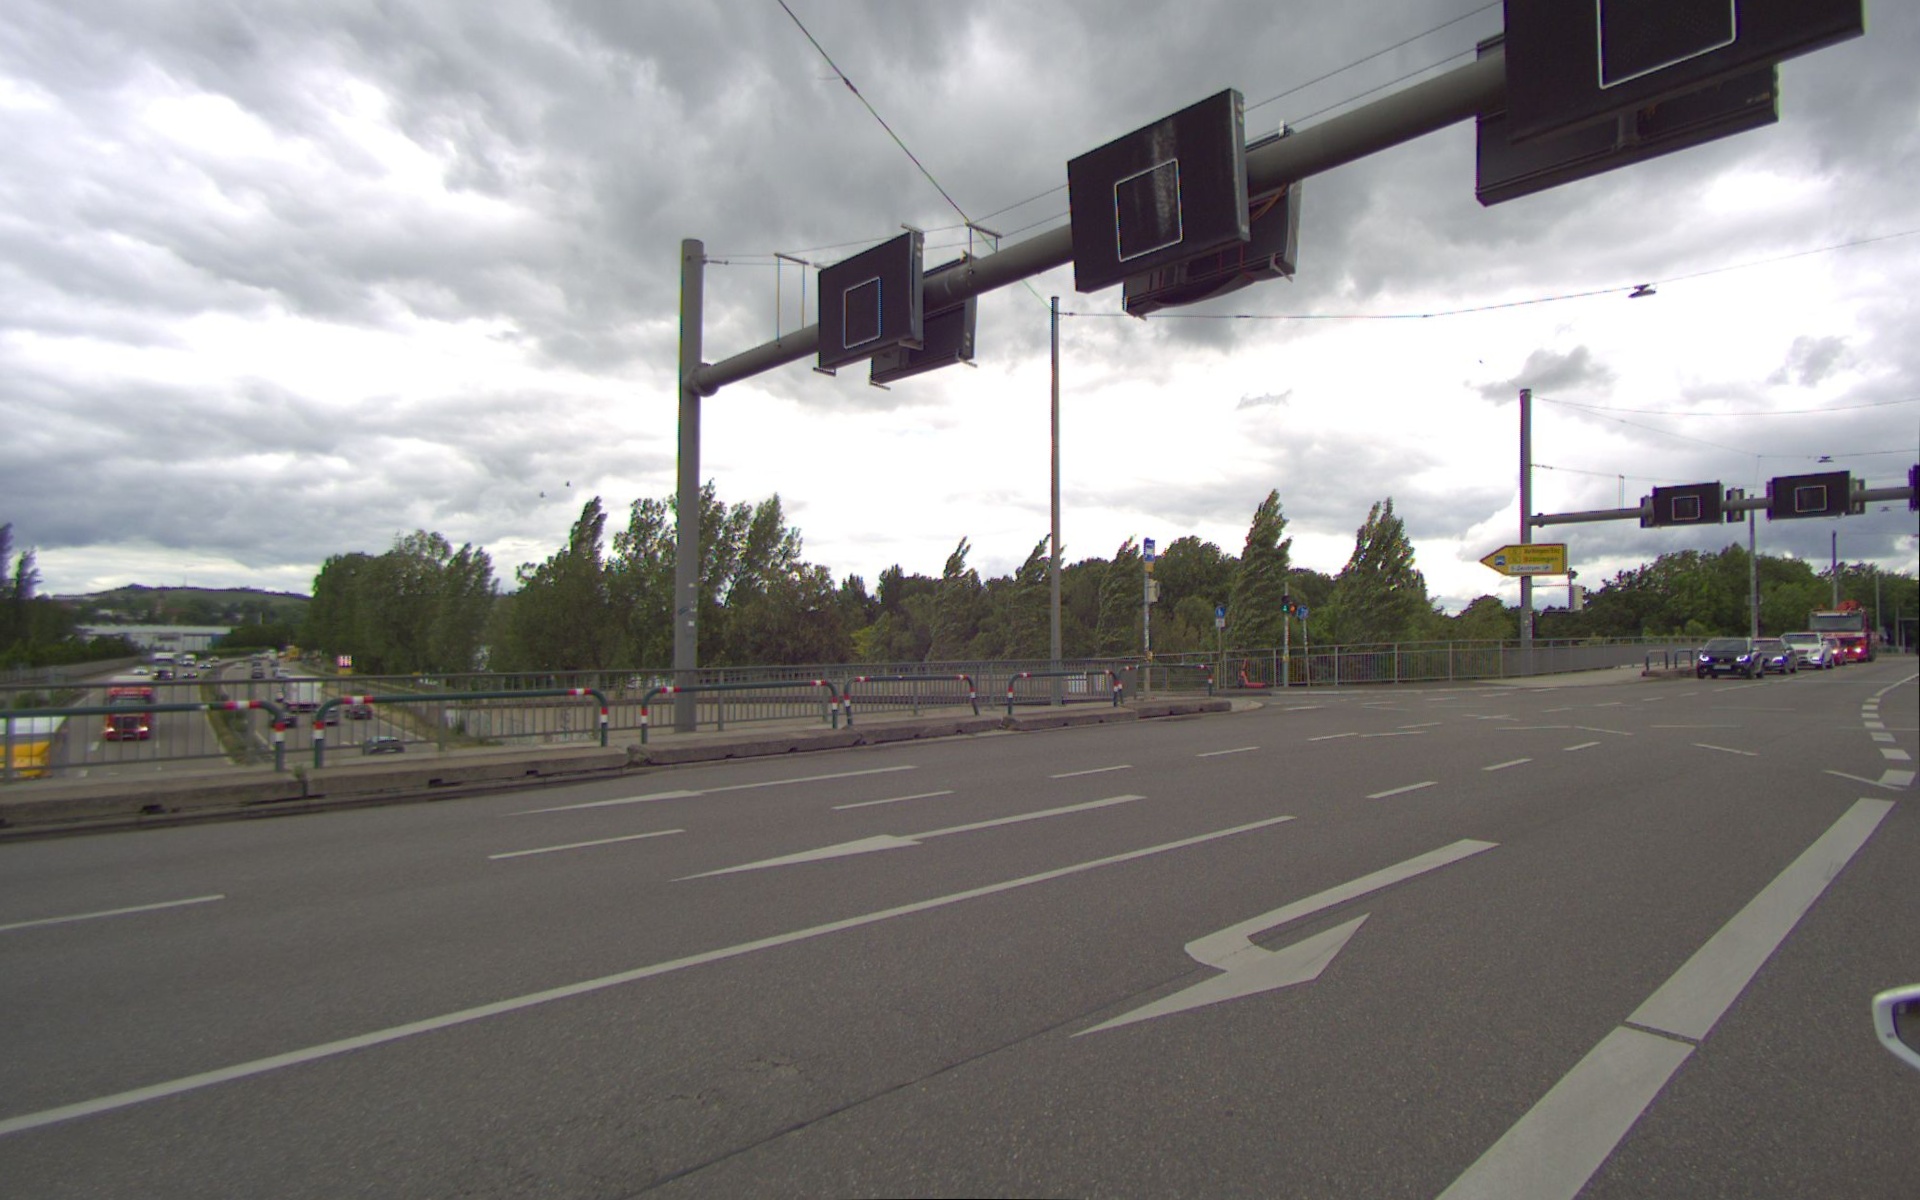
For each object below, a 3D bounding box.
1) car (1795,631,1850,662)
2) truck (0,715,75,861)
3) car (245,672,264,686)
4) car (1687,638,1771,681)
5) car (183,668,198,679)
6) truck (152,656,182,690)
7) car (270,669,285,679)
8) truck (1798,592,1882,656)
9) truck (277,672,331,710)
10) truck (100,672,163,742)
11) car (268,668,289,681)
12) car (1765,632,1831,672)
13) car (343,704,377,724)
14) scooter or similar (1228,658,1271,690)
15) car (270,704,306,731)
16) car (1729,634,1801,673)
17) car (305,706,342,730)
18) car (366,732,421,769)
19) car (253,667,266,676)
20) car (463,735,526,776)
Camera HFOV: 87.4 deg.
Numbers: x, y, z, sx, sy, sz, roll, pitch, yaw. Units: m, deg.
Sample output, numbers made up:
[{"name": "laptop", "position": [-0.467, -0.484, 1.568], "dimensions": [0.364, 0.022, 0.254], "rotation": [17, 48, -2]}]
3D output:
[{"name": "car", "position": [46.632, 2.499, 54.309], "dimensions": [3.988, 1.624, 1.862], "rotation": [2, -3, -44]}, {"name": "truck", "position": [-35.026, 6.643, 36.959], "dimensions": [2.878, 4.237, 9.915], "rotation": [5, -5, -38]}, {"name": "car", "position": [-114.762, 12.850, 163.400], "dimensions": [2.206, 2.040, 4.591], "rotation": [4, -2, -38]}, {"name": "car", "position": [29.074, 2.209, 37.941], "dimensions": [3.842, 1.524, 1.819], "rotation": [2, -3, -42]}, {"name": "car", "position": [-128.496, 12.251, 167.791], "dimensions": [1.896, 1.739, 3.603], "rotation": [4, -6, -37]}, {"name": "truck", "position": [-128.691, 11.793, 163.152], "dimensions": [3.348, 5.019, 13.794], "rotation": [1, -2, -36]}, {"name": "car", "position": [-124.055, 13.392, 182.659], "dimensions": [1.982, 1.791, 3.447], "rotation": [4, -6, -37]}, {"name": "truck", "position": [53.855, 1.553, 61.356], "dimensions": [9.914, 3.612, 2.977], "rotation": [2, -3, -44]}, {"name": "truck", "position": [-65.916, 9.110, 100.854], "dimensions": [3.565, 3.500, 8.150], "rotation": [5, -5, -38]}, {"name": "truck", "position": [-62.541, 7.888, 76.045], "dimensions": [2.864, 4.413, 13.120], "rotation": [3, -3, -37]}, {"name": "car", "position": [-114.595, 12.502, 168.823], "dimensions": [2.576, 2.040, 4.592], "rotation": [4, -4, -37]}, {"name": "car", "position": [40.027, 2.466, 47.943], "dimensions": [4.770, 1.784, 1.862], "rotation": [2, -3, -44]}, {"name": "car", "position": [-56.281, 10.654, 94.177], "dimensions": [2.121, 1.586, 4.375], "rotation": [4, -4, -39]}, {"name": "scooter or similar", "position": [10.055, 2.572, 34.860], "dimensions": [1.316, 1.070, 0.483], "rotation": [-4, -4, 39]}, {"name": "car", "position": [-56.650, 9.863, 84.665], "dimensions": [2.315, 1.739, 4.683], "rotation": [0, -1, -37]}, {"name": "car", "position": [34.112, 2.240, 42.528], "dimensions": [4.486, 1.524, 1.818], "rotation": [2, -3, -44]}, {"name": "car", "position": [-55.259, 10.193, 87.155], "dimensions": [2.121, 1.739, 4.375], "rotation": [4, -4, -39]}, {"name": "car", "position": [-34.298, 9.061, 60.750], "dimensions": [2.121, 1.739, 4.375], "rotation": [4, -4, -39]}, {"name": "car", "position": [-136.207, 13.917, 195.252], "dimensions": [1.982, 1.739, 3.603], "rotation": [4, -6, -37]}, {"name": "car", "position": [-25.809, 8.549, 55.632], "dimensions": [2.121, 1.739, 4.375], "rotation": [4, -4, -39]}]
